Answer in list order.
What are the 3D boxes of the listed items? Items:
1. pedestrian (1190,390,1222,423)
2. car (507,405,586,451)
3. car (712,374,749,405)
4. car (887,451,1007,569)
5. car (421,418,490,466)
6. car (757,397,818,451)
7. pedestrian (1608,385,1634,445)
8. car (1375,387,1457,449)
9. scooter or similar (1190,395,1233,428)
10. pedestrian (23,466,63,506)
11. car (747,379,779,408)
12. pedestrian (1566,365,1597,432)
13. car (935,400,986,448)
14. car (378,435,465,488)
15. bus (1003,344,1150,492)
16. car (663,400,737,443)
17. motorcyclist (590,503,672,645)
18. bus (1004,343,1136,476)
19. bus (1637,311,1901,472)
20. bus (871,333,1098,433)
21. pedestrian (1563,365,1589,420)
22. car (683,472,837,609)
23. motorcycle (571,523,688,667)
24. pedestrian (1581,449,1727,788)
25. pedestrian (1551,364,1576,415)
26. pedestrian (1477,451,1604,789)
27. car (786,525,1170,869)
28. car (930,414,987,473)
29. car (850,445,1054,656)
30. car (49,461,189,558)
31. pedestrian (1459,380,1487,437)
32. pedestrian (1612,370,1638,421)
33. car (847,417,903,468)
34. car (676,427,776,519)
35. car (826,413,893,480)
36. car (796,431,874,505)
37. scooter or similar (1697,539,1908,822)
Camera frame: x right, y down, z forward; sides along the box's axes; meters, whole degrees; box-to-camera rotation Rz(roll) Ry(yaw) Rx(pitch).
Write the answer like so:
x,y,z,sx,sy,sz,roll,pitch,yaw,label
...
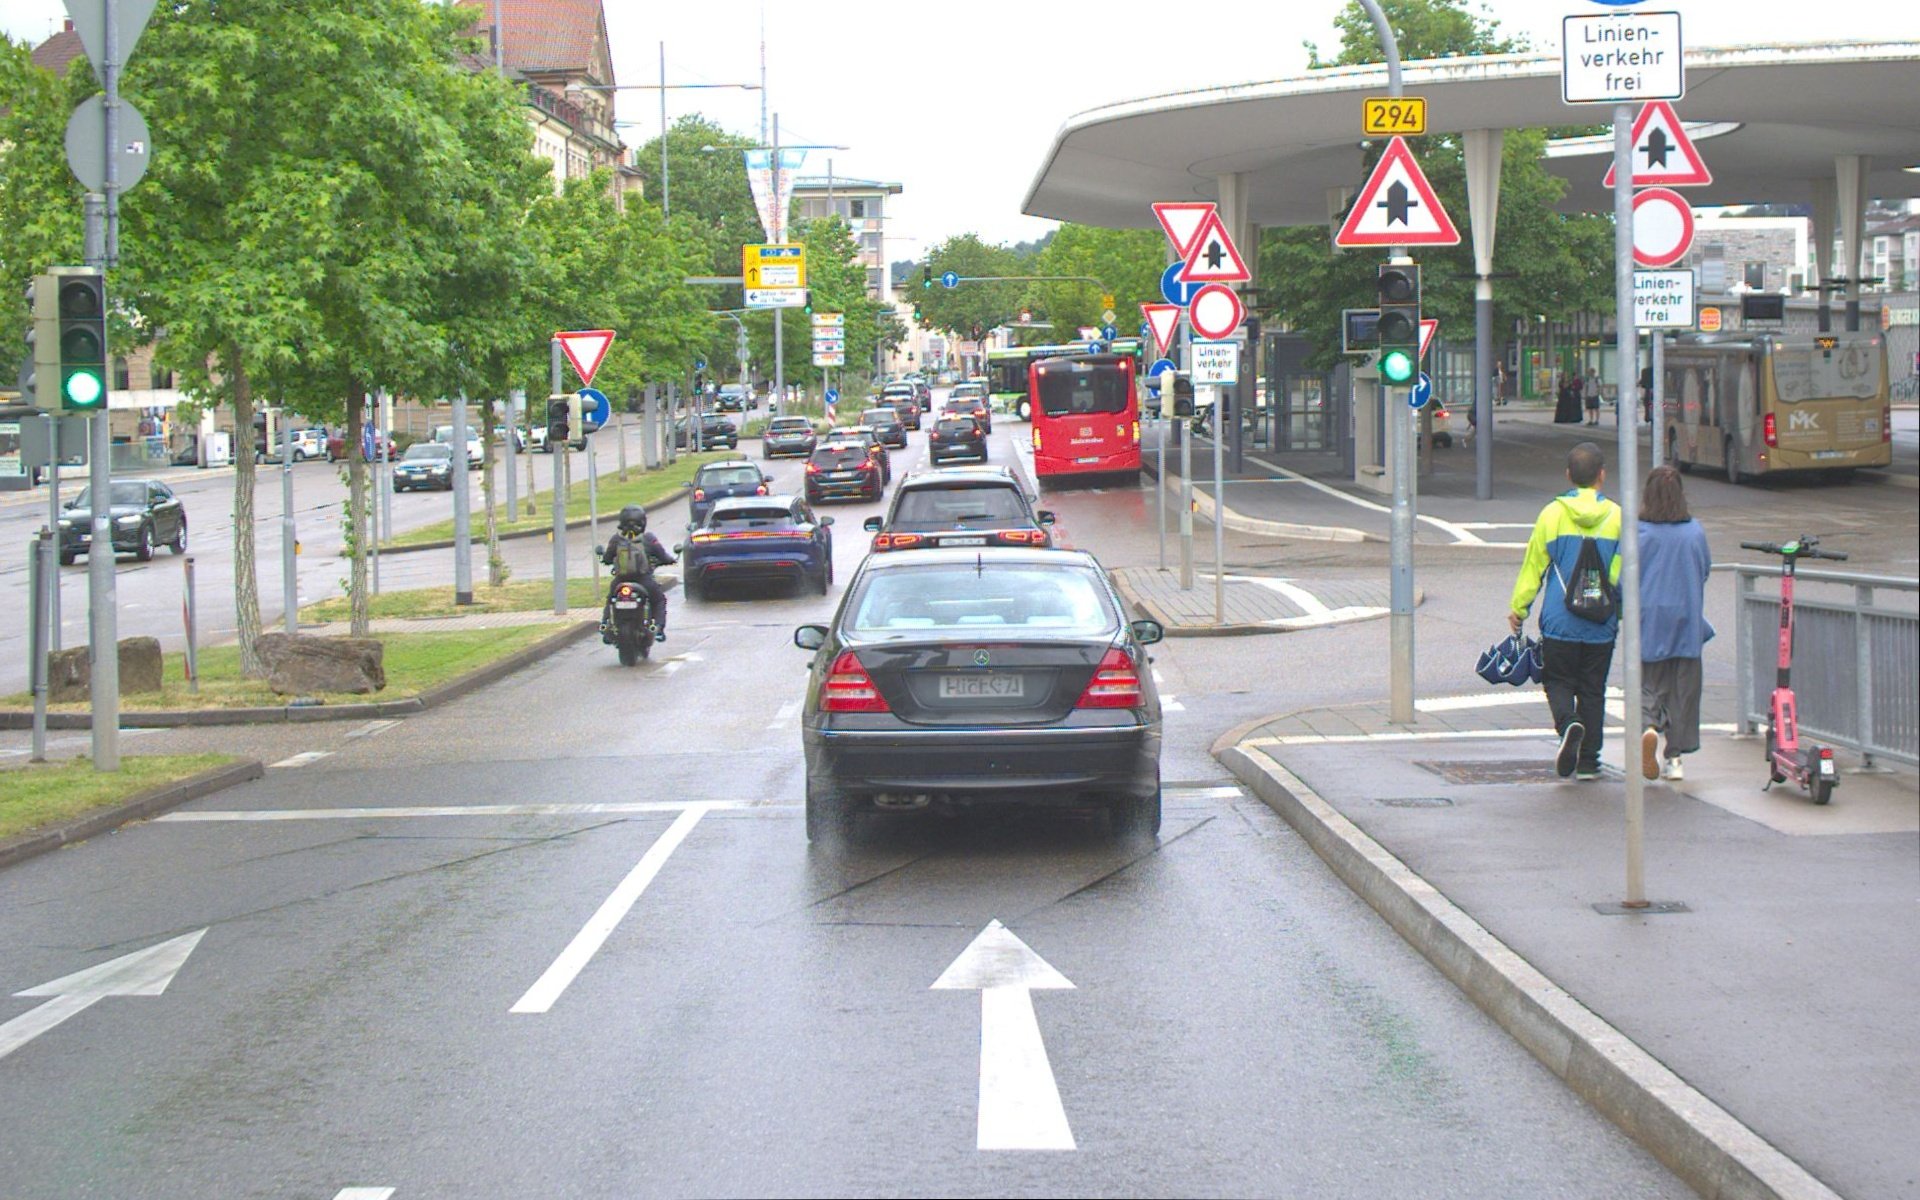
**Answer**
x,y,z,sx,sy,sz,roll,pitch,yaw,label
7.814,-6.142,109.226,0.914,0.981,0.633,0,0,14,pedestrian
-17.291,-7.171,143.600,1.642,1.798,3.639,1,1,-36,car
-13.077,-12.004,196.081,1.780,1.561,3.431,-4,4,0,car
-0.196,-1.457,54.482,1.741,1.561,3.872,-4,4,0,car
-18.729,-5.886,127.816,1.847,1.646,4.420,-2,4,0,car
-5.880,-5.988,117.246,1.865,1.678,4.000,1,1,0,car
18.856,-5.285,98.065,0.560,1.686,0.614,-2,4,-6,pedestrian
13.046,-5.227,98.565,1.712,1.656,4.241,-1,4,-1,car
8.001,-6.007,109.391,1.243,1.009,0.764,-1,4,14,scooter or similar
-30.569,-3.805,114.608,0.977,1.263,0.849,3,6,21,pedestrian
-11.570,-12.146,202.080,1.575,1.561,3.431,-4,4,0,car
19.158,-6.203,105.943,0.724,2.007,0.669,2,1,27,pedestrian
0.003,-6.677,130.716,1.865,1.678,4.000,1,1,0,car
-17.022,-4.407,108.833,1.847,1.499,4.920,-2,4,1,car
2.799,-4.647,85.698,3.286,3.280,10.880,-3,4,1,bus
-10.019,-6.872,132.244,1.727,1.555,3.769,-2,2,-22,car
-3.269,-0.263,34.239,0.641,1.342,0.689,-2,4,4,motorcyclist
2.921,-5.274,93.734,3.291,3.277,8.851,-3,4,1,bus
17.115,-4.532,73.698,2.721,3.032,12.092,-3,4,0,bus
0.932,-9.364,149.011,2.839,3.973,11.860,-5,5,-39,bus
19.763,-6.654,110.333,0.580,1.710,0.560,2,1,35,pedestrian
-2.781,-0.886,48.676,1.816,1.565,4.405,-4,4,0,car
-3.283,-0.068,34.292,0.793,1.257,1.855,-3,4,4,motorcycle
3.477,0.092,17.247,0.589,1.665,0.580,1,-1,0,pedestrian
19.177,-6.681,109.266,0.580,1.573,0.560,2,1,30,pedestrian
2.911,0.094,17.264,0.522,1.664,0.580,-1,1,0,pedestrian
0.071,0.385,17.445,1.697,1.457,4.304,-1,2,0,car
-0.041,-4.732,103.729,1.575,1.561,3.872,-4,4,0,car
-0.078,-0.612,37.529,1.957,1.869,4.875,-4,4,0,car
-17.312,-1.904,70.971,1.908,1.656,4.860,-2,5,-3,car
14.250,-5.324,95.510,0.598,1.576,0.712,-1,2,-9,pedestrian
21.231,-6.525,109.797,0.580,1.573,0.560,2,1,35,pedestrian
-2.982,-5.534,121.032,1.865,1.678,4.000,1,1,0,car
-4.774,-2.642,70.682,1.676,1.617,3.872,-4,4,0,car
-2.665,-4.124,91.870,1.575,1.561,3.872,-4,4,0,car
-2.967,-3.182,82.308,1.575,1.499,3.872,-4,4,1,car
3.869,0.341,15.902,0.463,1.217,1.859,-2,1,0,scooter or similar
